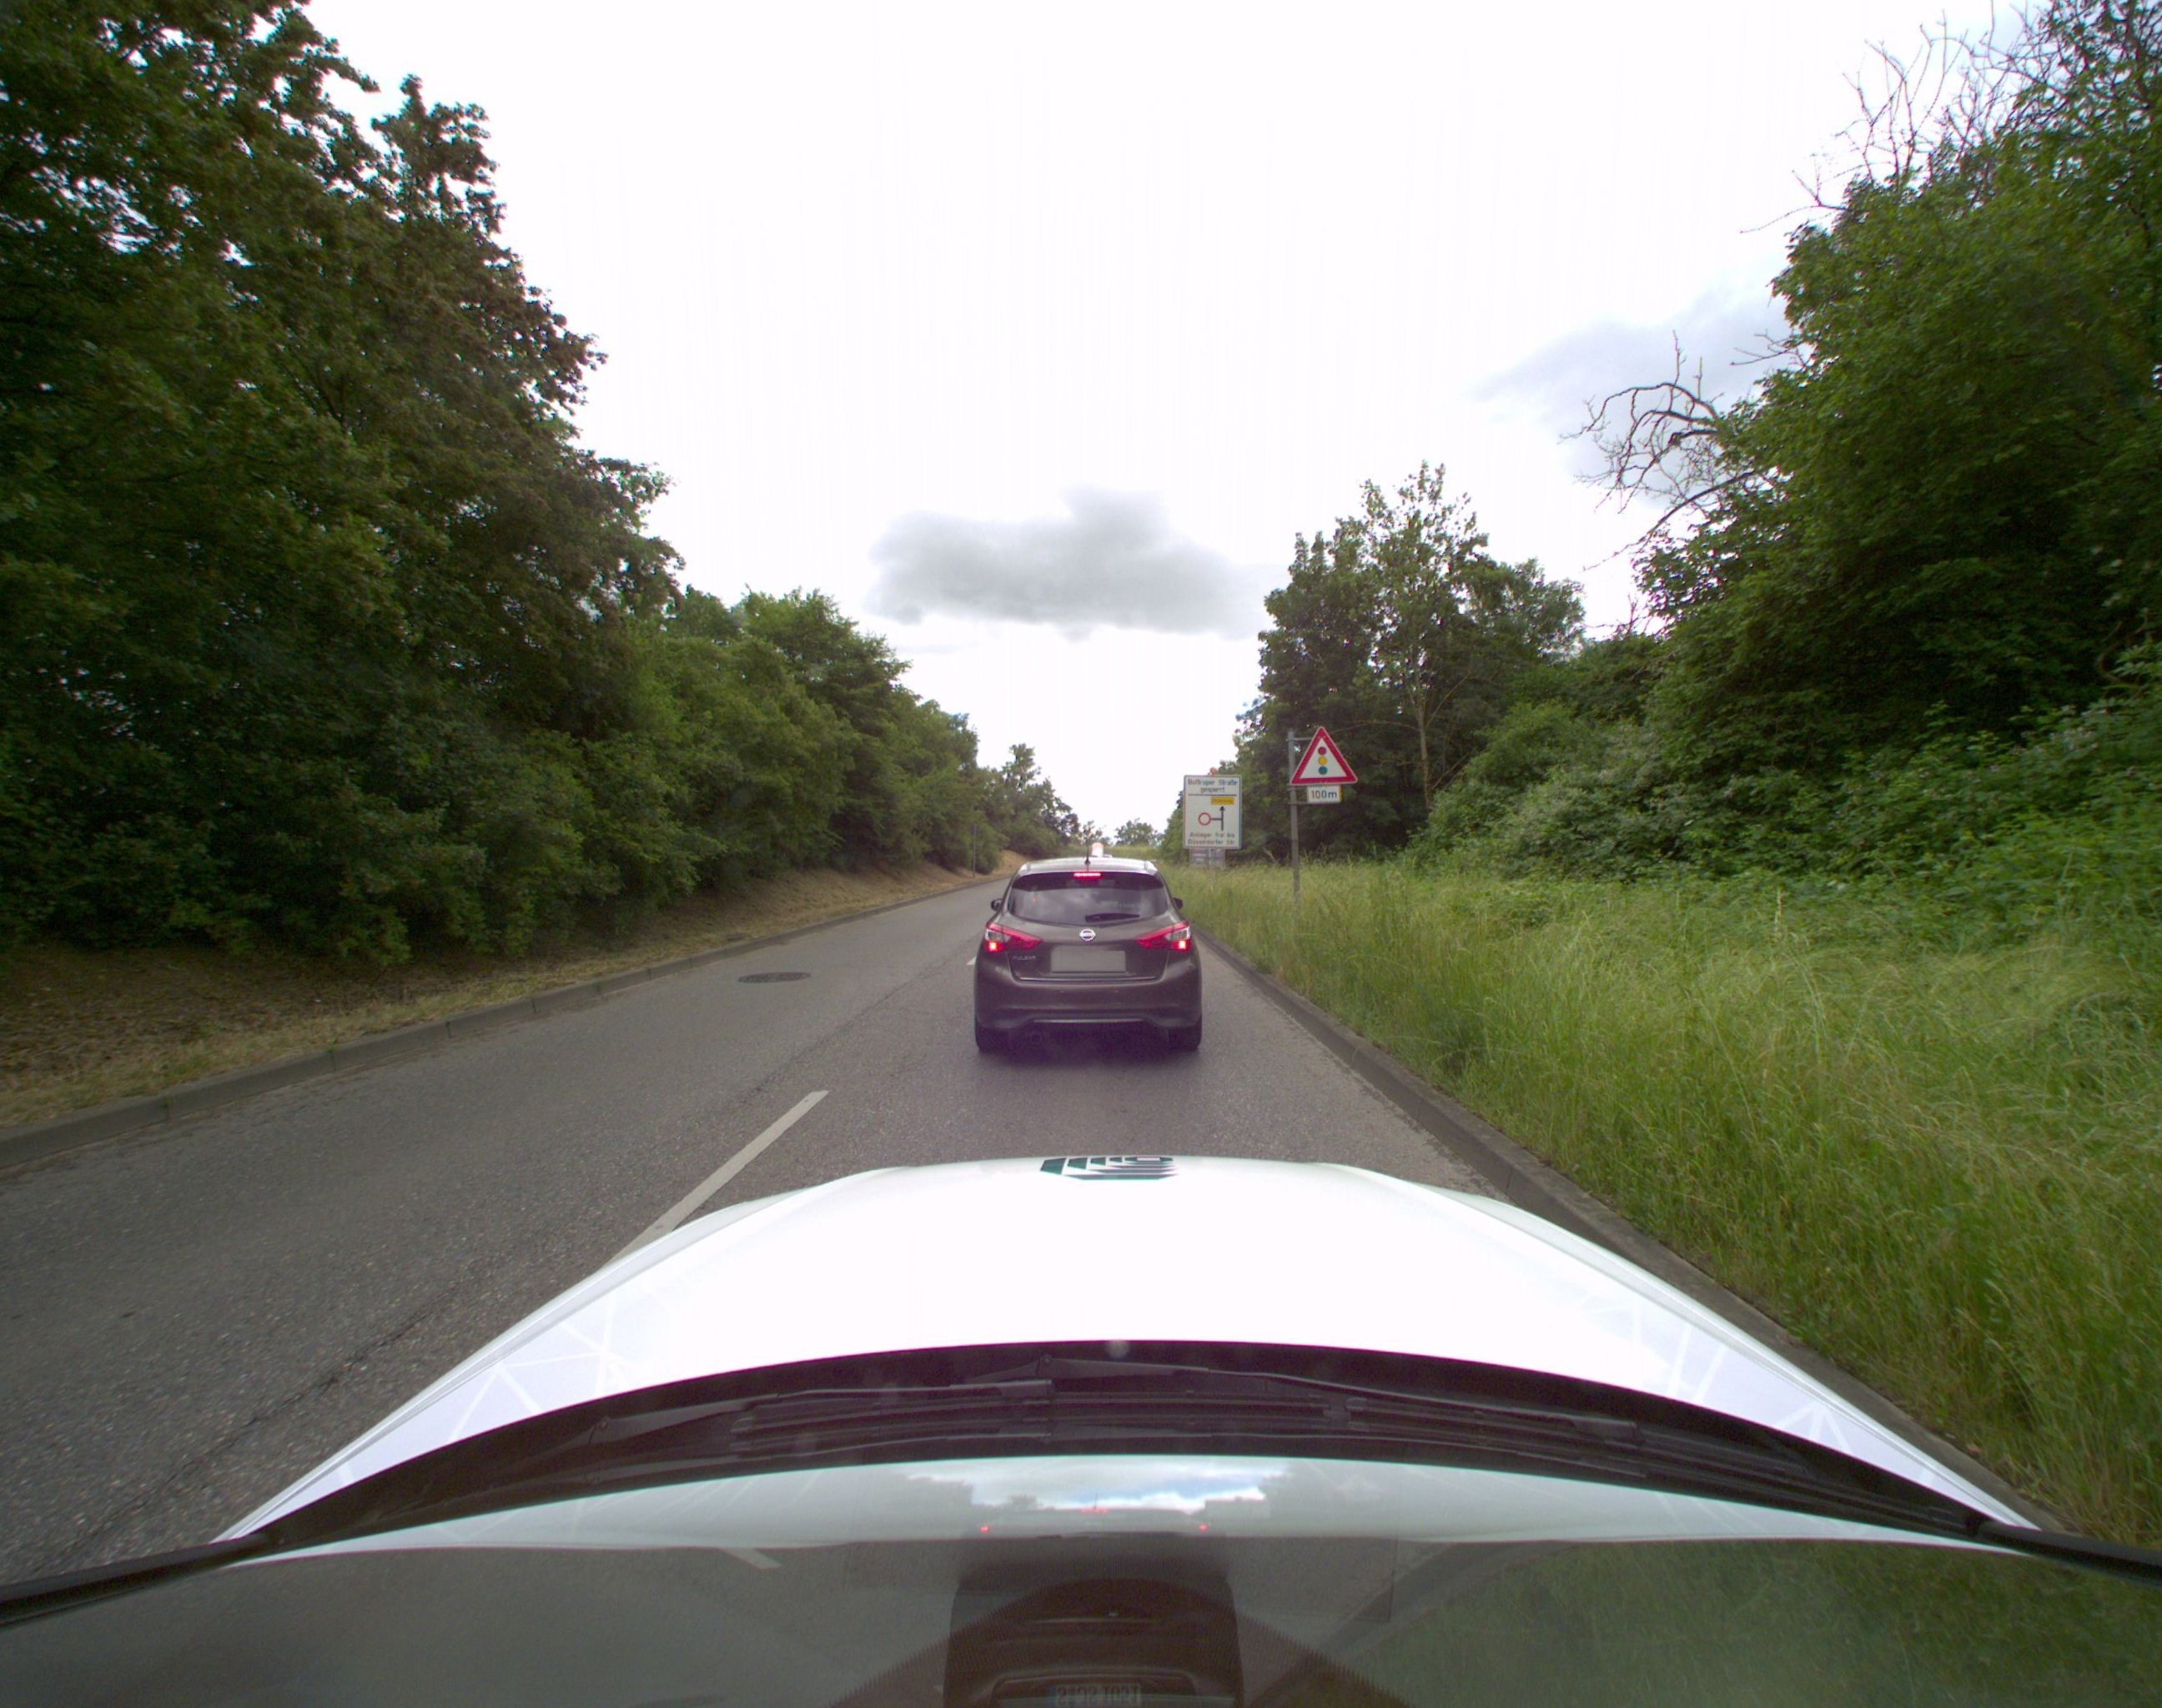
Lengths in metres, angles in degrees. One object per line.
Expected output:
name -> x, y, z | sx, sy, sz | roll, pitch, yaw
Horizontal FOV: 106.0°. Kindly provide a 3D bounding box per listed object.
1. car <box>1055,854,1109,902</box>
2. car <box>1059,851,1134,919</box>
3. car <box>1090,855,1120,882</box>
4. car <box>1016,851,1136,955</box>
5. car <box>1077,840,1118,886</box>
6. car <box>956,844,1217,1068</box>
car -> 0.091, 0.793, 28.585 | 1.729, 1.556, 3.545 | -2, 0, 2
car -> 0.425, 0.734, 20.970 | 1.729, 1.556, 3.545 | -2, 0, 2
car -> 1.490, 0.866, 50.179 | 1.729, 1.526, 3.546 | -2, 0, 3
car -> -0.003, 0.763, 14.424 | 1.823, 1.556, 3.626 | -2, 0, 2
car -> 0.739, 0.388, 36.843 | 1.730, 1.935, 3.544 | -1, 0, 1
car -> 0.049, 0.723, 7.525 | 1.824, 1.556, 3.499 | -1, 0, 0
